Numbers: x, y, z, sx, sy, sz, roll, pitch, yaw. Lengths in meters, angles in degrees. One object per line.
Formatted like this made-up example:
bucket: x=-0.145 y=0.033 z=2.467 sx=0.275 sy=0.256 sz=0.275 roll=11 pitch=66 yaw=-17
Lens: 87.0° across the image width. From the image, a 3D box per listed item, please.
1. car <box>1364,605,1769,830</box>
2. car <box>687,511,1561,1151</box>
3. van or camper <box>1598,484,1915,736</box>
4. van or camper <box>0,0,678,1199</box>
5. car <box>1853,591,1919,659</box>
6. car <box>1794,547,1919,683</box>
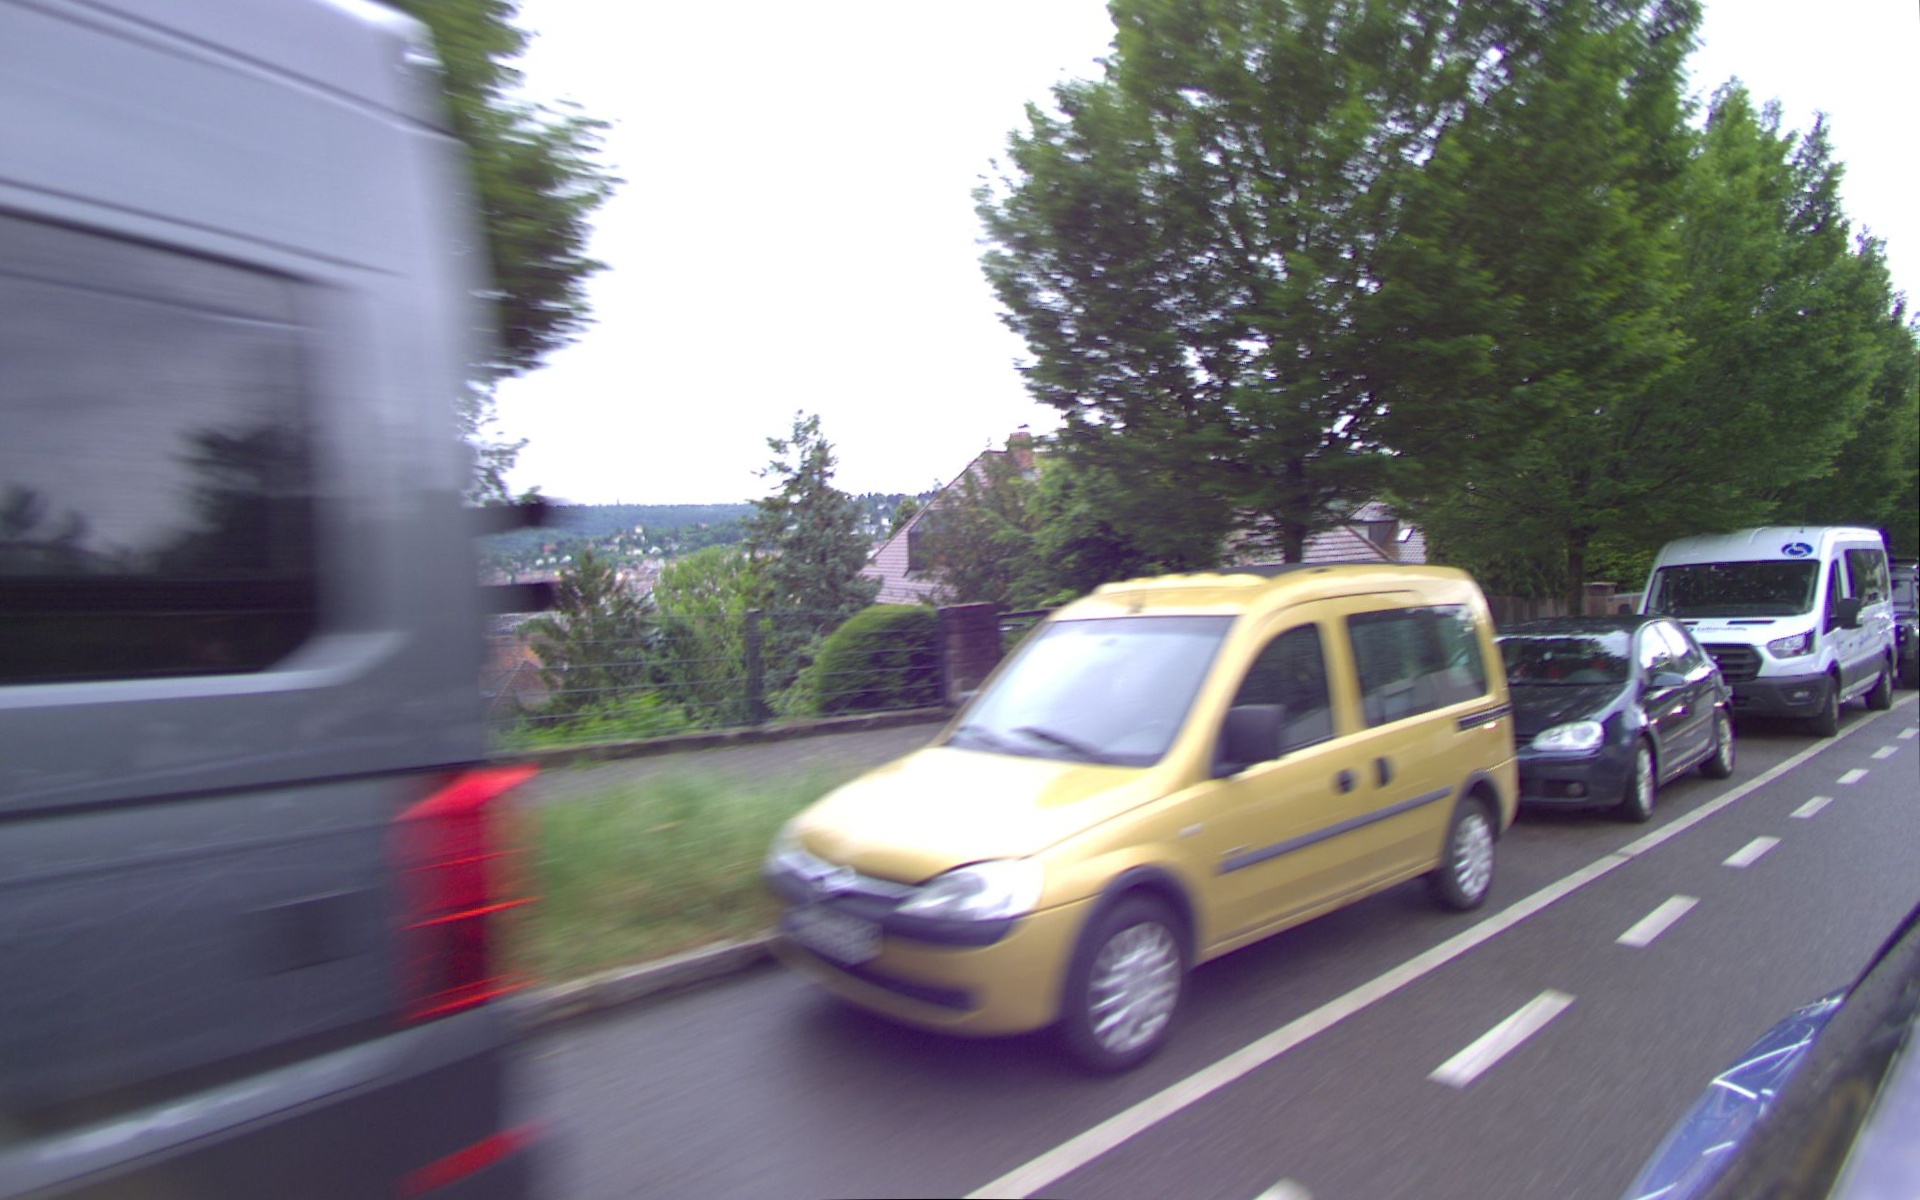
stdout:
car: x=5.299 y=0.784 z=8.581 sx=4.327 sy=1.392 sz=1.722 roll=-1 pitch=-1 yaw=-42
car: x=1.091 y=0.641 z=4.877 sx=4.325 sy=1.771 sz=1.723 roll=-1 pitch=-1 yaw=-40
van or camper: x=10.416 y=0.109 z=13.036 sx=5.518 sy=2.588 sz=2.167 roll=-1 pitch=-2 yaw=-41
van or camper: x=-3.332 y=0.071 z=0.811 sx=5.627 sy=2.947 sz=2.128 roll=0 pitch=-1 yaw=-41
car: x=22.069 y=0.519 z=23.206 sx=4.248 sy=1.453 sz=1.723 roll=-1 pitch=-1 yaw=-40
car: x=16.556 y=0.236 z=18.072 sx=4.325 sy=2.166 sz=1.723 roll=-1 pitch=-2 yaw=-40
